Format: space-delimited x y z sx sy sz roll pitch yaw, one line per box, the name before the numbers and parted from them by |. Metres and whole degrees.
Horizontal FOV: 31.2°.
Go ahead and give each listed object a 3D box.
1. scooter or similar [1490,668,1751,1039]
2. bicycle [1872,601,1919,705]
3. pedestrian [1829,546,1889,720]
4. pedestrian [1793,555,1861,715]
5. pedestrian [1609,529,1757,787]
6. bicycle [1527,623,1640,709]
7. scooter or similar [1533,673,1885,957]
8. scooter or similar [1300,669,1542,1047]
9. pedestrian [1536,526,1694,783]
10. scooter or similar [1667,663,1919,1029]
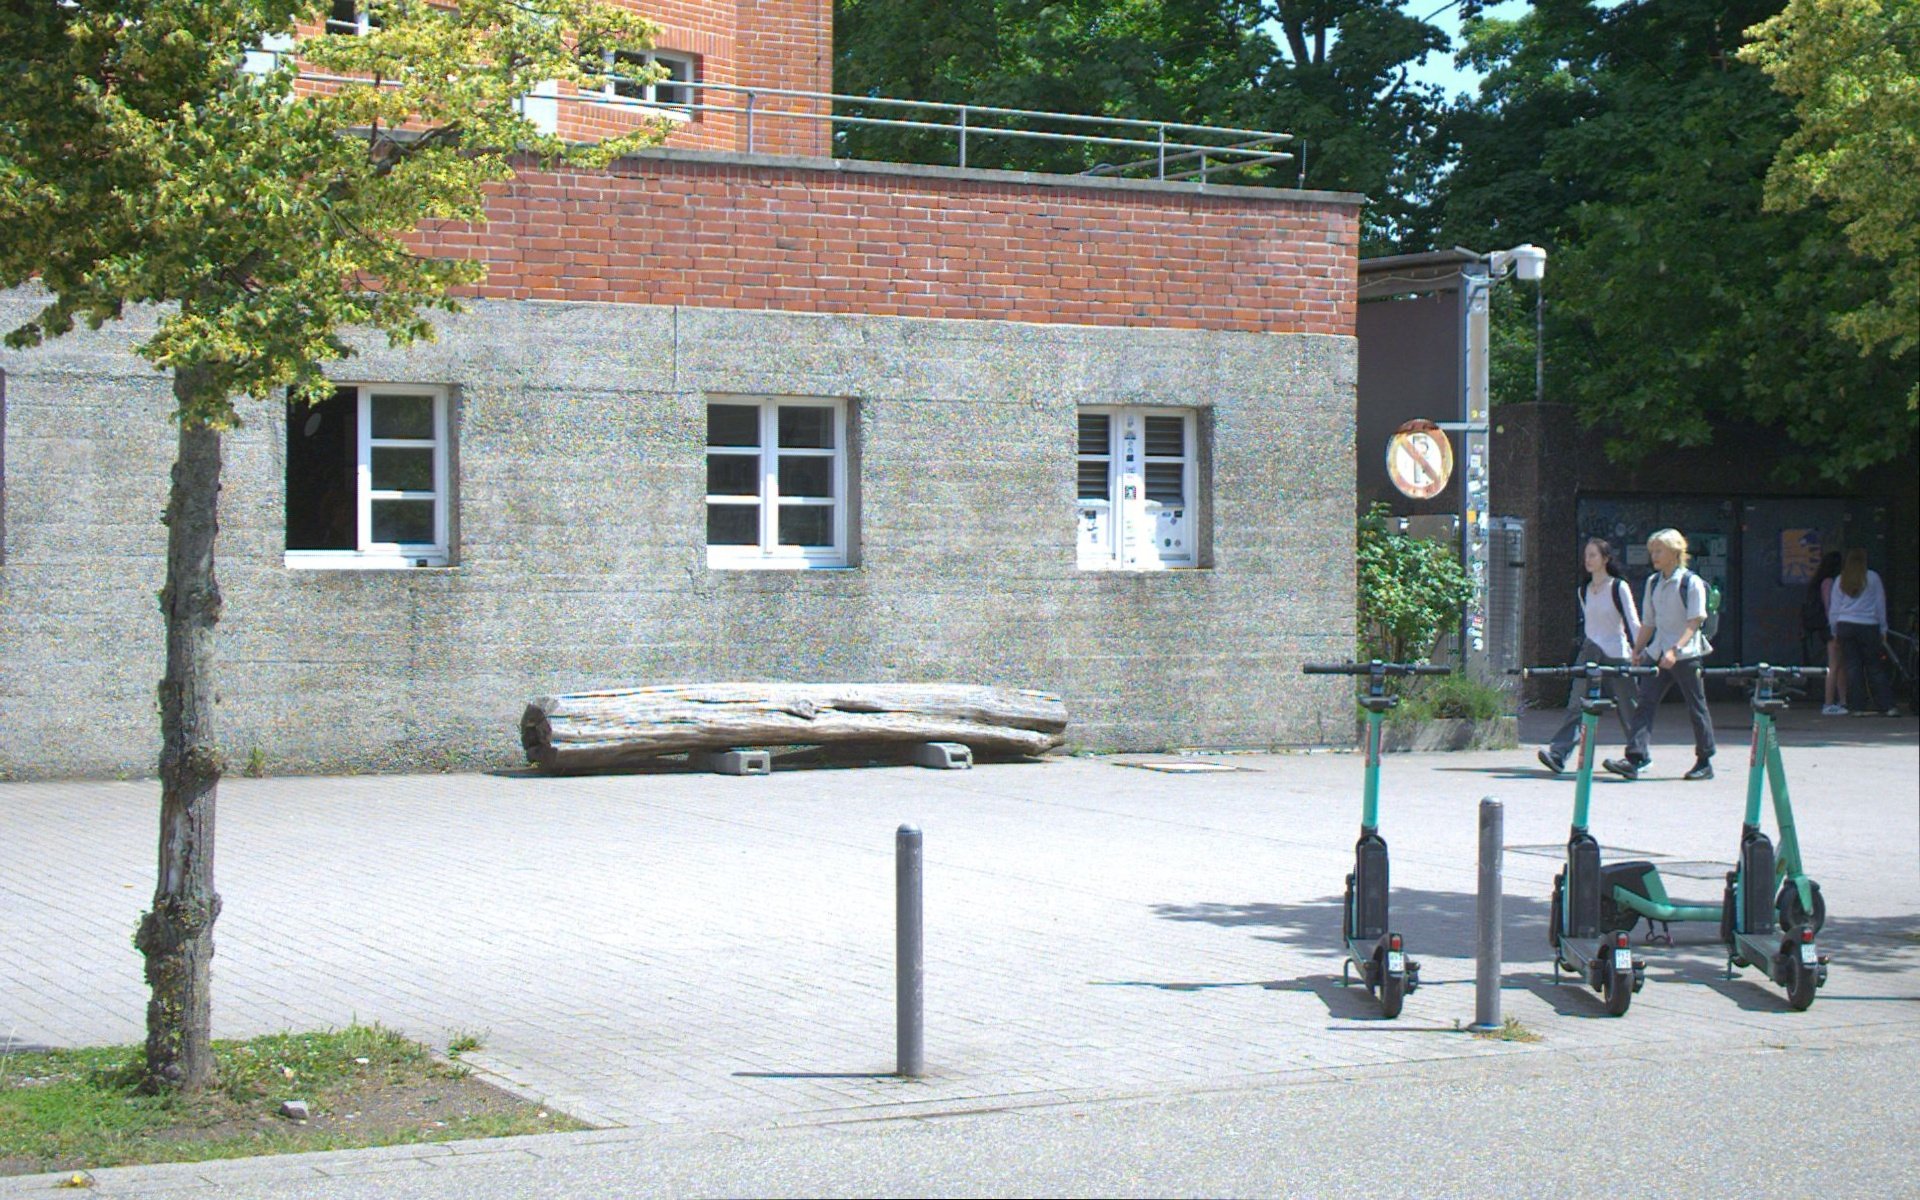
scooter or similar | 2.398 0.890 12.636 0.563 1.220 1.575 1 1 -3
bicycle | 10.301 0.568 36.129 1.346 1.073 0.416 2 -1 17
pedestrian | 8.986 0.320 34.352 0.529 1.705 0.448 1 2 16
pedestrian | 8.800 0.346 34.904 0.604 1.587 0.412 2 2 18
pedestrian | 5.006 0.391 23.801 0.803 1.756 0.565 0 1 -31
bicycle | 6.516 0.689 35.916 1.227 0.880 0.305 0 1 -28
scooter or similar | 3.176 0.894 14.592 1.345 1.145 0.565 1 1 -18
scooter or similar | 1.636 0.891 12.412 0.569 1.220 1.575 1 1 -3
pedestrian | 4.609 0.375 24.204 0.914 1.773 0.577 0 1 -31
scooter or similar | 3.100 0.874 12.789 0.522 1.220 1.575 1 1 -3
